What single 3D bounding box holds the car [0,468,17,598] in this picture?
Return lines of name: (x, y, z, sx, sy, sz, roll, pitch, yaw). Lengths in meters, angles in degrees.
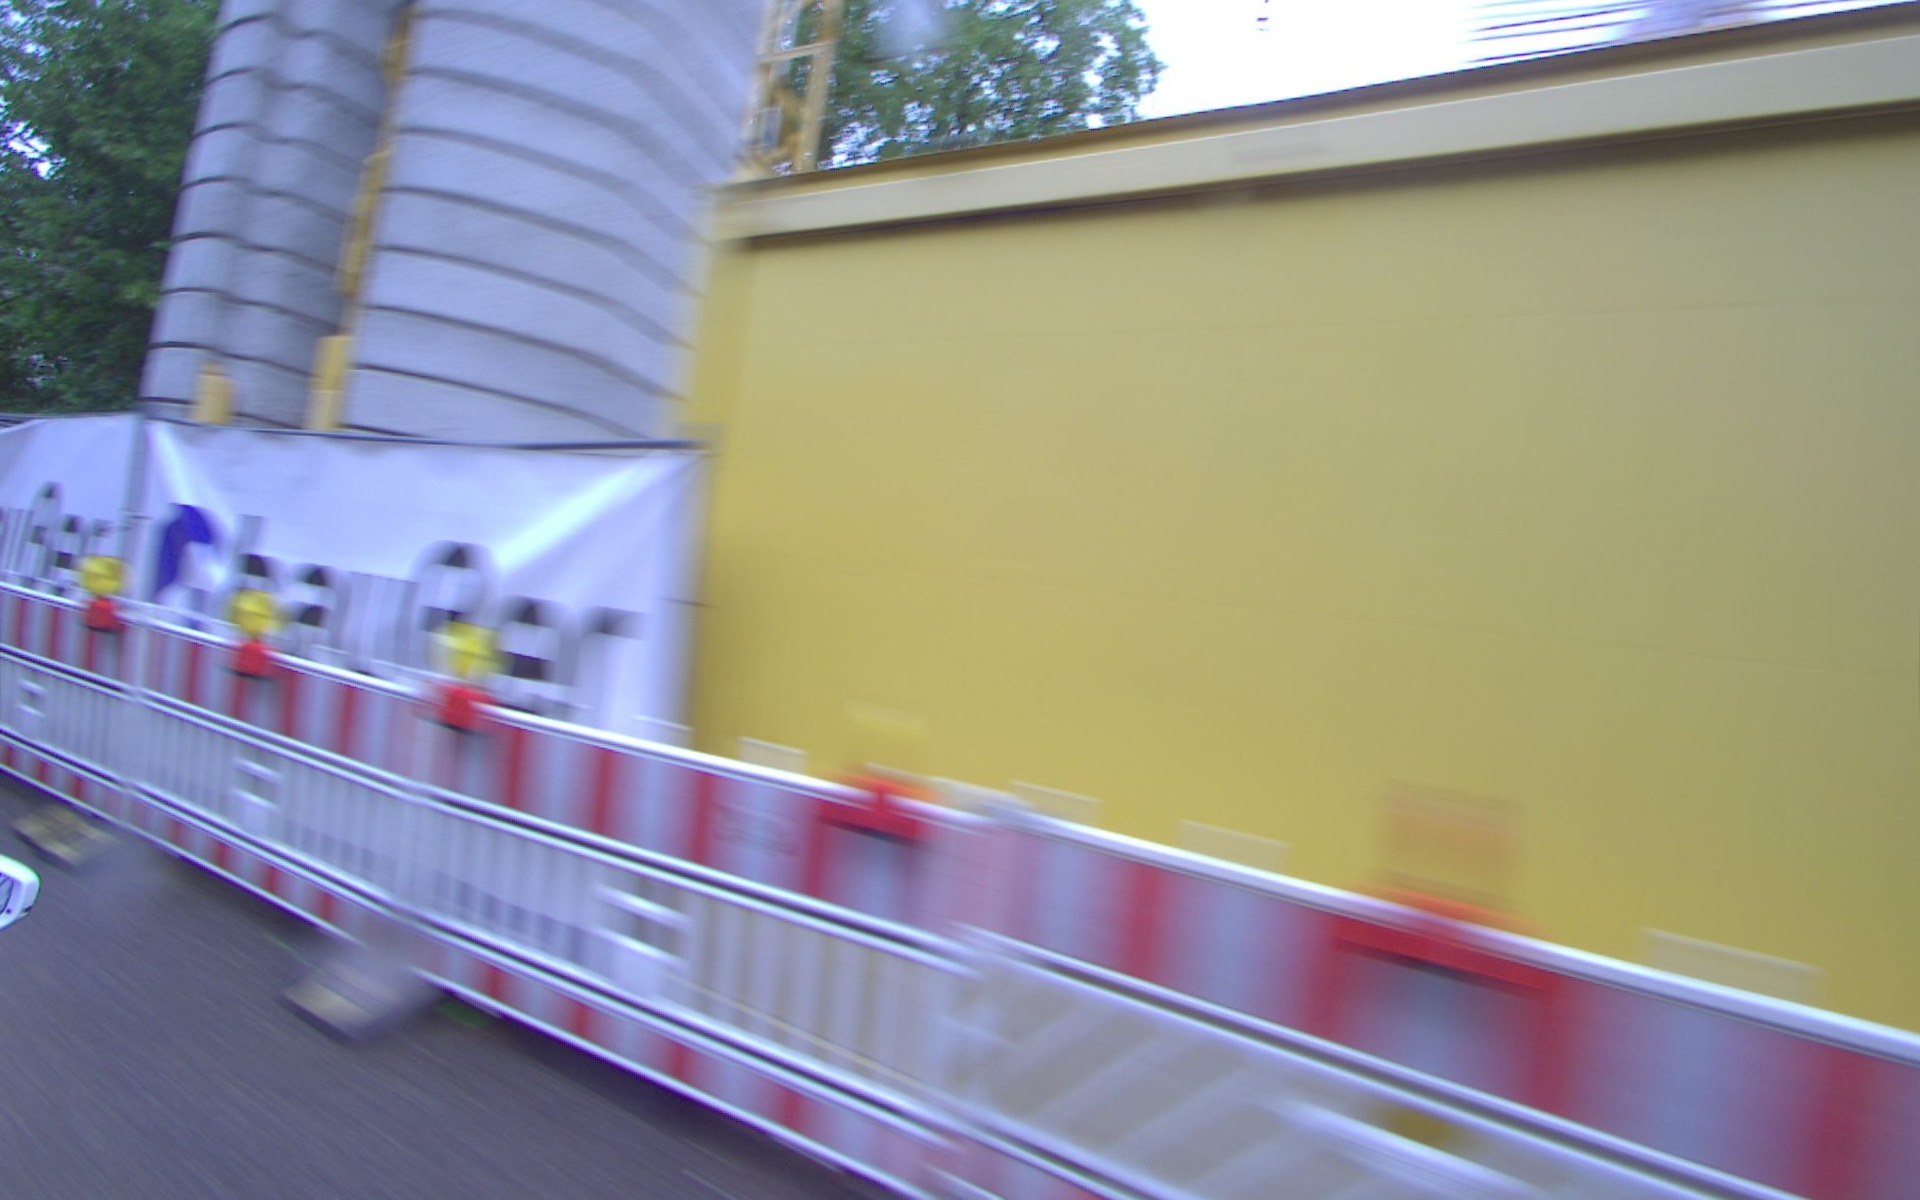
car: (-12.796, -0.880, 11.411, 4.425, 1.726, 1.748, 7, -1, 30)
